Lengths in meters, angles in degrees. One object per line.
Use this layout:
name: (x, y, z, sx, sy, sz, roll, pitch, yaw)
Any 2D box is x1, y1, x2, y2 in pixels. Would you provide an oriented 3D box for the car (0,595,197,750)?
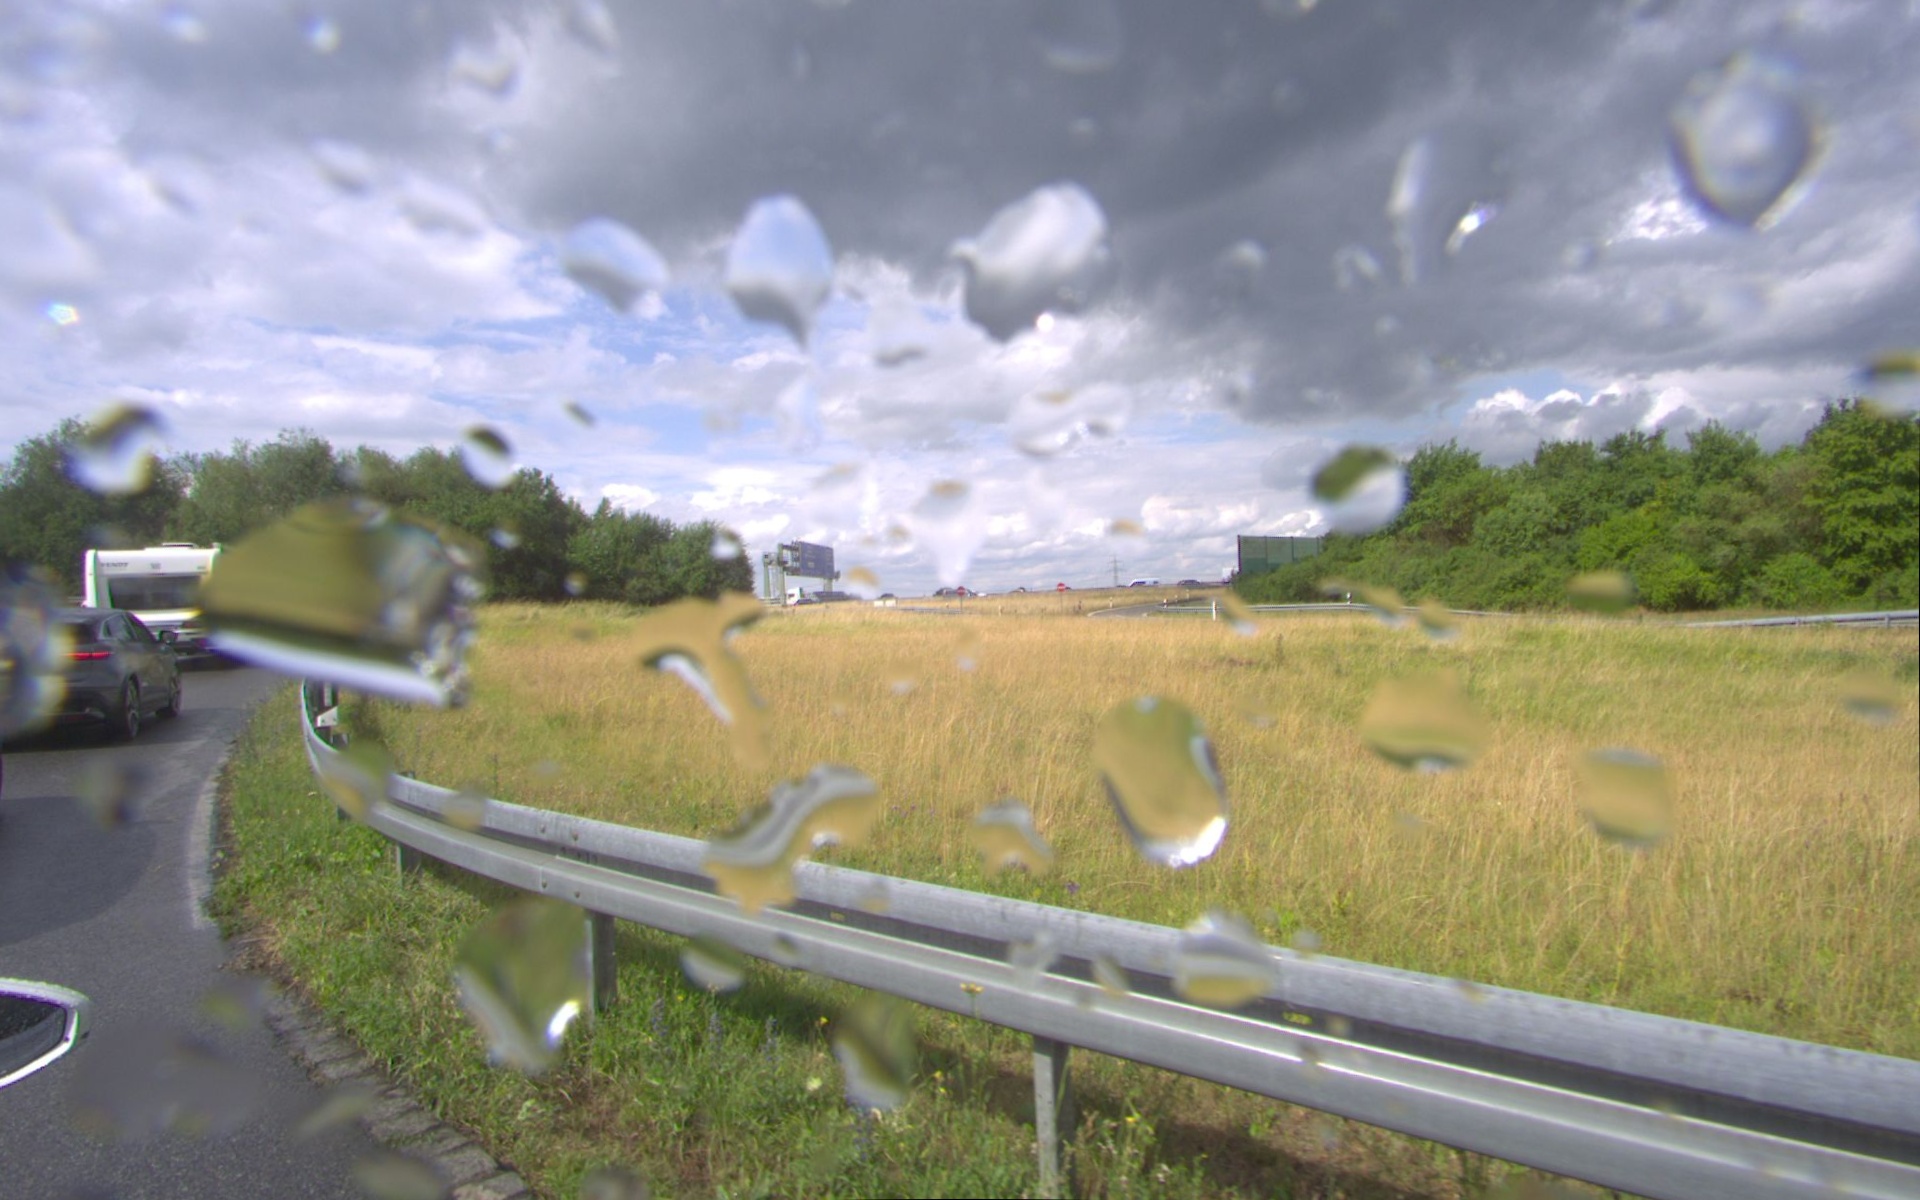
car: (-10.666, 0.756, 12.052, 1.698, 1.545, 3.980, -3, 1, -29)

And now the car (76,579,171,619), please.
car: (-41.421, -0.032, 49.570, 4.980, 1.886, 1.991, 0, 0, 29)

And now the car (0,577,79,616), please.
car: (-50.345, -0.166, 53.581, 4.960, 1.886, 1.999, -2, 1, 8)

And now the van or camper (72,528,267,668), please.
van or camper: (-17.856, -0.116, 23.031, 2.402, 2.767, 5.970, 0, 2, -28)

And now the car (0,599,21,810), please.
car: (-6.842, 0.755, 5.392, 1.898, 1.527, 4.565, 1, 0, -34)

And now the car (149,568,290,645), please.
car: (-20.637, 0.114, 28.206, 2.400, 1.952, 5.730, 0, 1, -29)

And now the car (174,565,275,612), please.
car: (-32.439, -0.493, 44.129, 4.988, 1.886, 1.988, -2, 1, 34)
